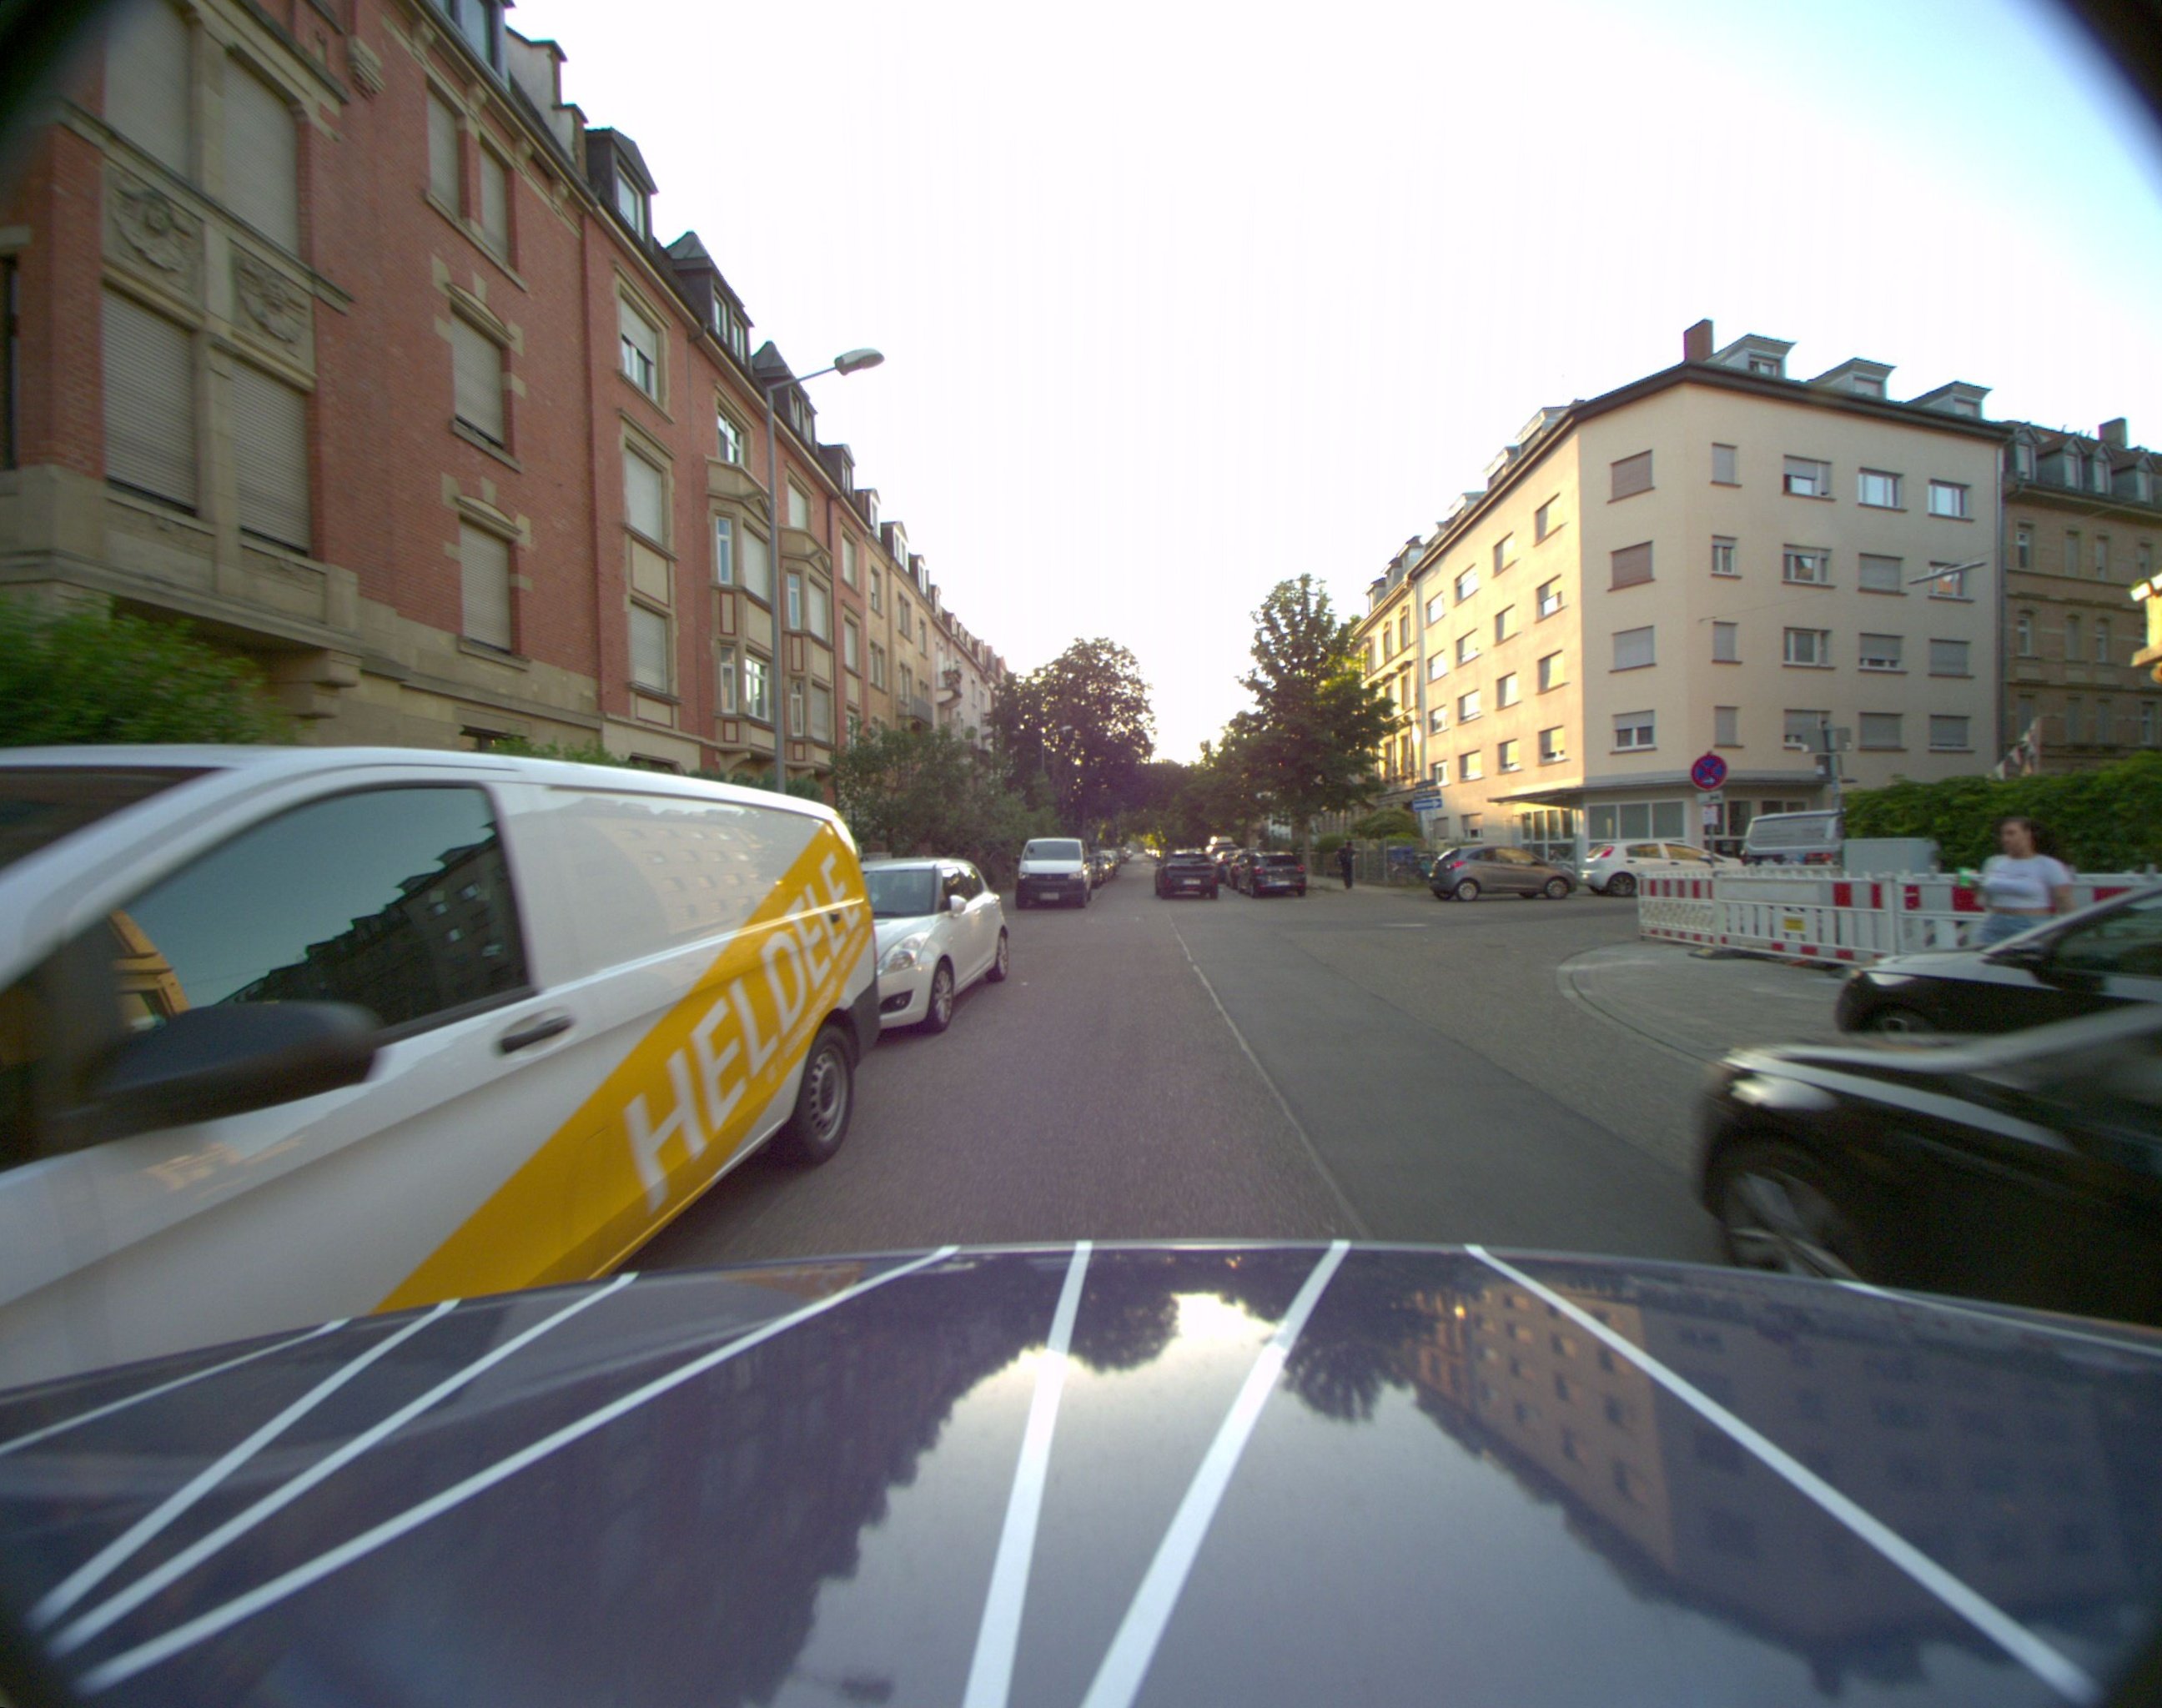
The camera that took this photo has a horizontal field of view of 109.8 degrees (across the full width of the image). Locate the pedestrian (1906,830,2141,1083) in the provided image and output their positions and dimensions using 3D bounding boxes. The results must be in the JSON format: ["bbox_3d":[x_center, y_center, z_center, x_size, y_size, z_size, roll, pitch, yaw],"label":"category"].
[{"bbox_3d":[6.570,0.665,5.330,0.786,1.609,0.711,-3,1,-9],"label":"pedestrian"}]

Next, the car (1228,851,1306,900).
[{"bbox_3d":[6.215,0.661,25.807,1.678,1.453,4.464,-2,1,2],"label":"car"}]

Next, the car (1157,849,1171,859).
[{"bbox_3d":[12.159,0.004,111.947,1.840,1.484,3.642,-2,1,4],"label":"car"}]

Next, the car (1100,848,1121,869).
[{"bbox_3d":[2.595,0.395,66.622,1.736,1.692,4.169,-2,1,2],"label":"car"}]

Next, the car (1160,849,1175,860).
[{"bbox_3d":[12.090,0.091,106.297,1.952,1.484,3.739,-2,1,4],"label":"car"}]

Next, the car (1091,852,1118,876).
[{"bbox_3d":[1.601,0.636,51.418,1.736,1.498,4.164,-2,1,2],"label":"car"}]

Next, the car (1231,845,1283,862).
[{"bbox_3d":[16.136,-0.042,69.821,4.411,1.333,1.626,-2,1,5],"label":"car"}]

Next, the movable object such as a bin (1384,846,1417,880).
[{"bbox_3d":[13.326,0.359,31.706,0.868,1.344,1.399,-3,1,6],"label":"movable object such as a bin"}]

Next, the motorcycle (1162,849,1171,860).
[{"bbox_3d":[10.400,0.046,92.396,0.847,1.202,2.076,2,1,14],"label":"motorcycle"}]

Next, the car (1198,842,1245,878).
[{"bbox_3d":[7.443,0.272,40.745,1.866,1.769,4.624,-2,1,3],"label":"car"}]

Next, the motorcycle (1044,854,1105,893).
[{"bbox_3d":[-0.258,0.731,29.631,2.098,1.474,1.130,0,1,-29],"label":"motorcycle"}]

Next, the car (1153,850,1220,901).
[{"bbox_3d":[3.411,0.648,25.220,1.784,1.509,4.000,0,1,1],"label":"car"}]

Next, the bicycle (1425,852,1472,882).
[{"bbox_3d":[14.039,0.496,29.070,0.501,1.086,1.545,-3,1,-33],"label":"bicycle"}]

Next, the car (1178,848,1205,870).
[{"bbox_3d":[8.892,0.345,61.163,1.865,1.653,4.022,-2,1,5],"label":"car"}]

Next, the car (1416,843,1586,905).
[{"bbox_3d":[11.216,0.530,20.492,3.514,1.499,1.845,-2,0,4],"label":"car"}]

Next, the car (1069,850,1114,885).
[{"bbox_3d":[0.608,0.647,39.086,1.760,1.573,4.843,-3,0,6],"label":"car"}]

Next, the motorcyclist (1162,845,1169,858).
[{"bbox_3d":[10.238,-0.289,91.800,0.788,1.531,0.546,2,2,14],"label":"motorcyclist"}]

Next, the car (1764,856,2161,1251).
[{"bbox_3d":[5.236,0.826,3.053,1.707,1.525,3.845,-2,1,4],"label":"car"}]

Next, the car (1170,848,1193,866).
[{"bbox_3d":[9.624,0.224,72.805,1.677,1.627,3.941,-2,1,1],"label":"car"}]

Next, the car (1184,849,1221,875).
[{"bbox_3d":[7.475,0.474,47.008,1.732,1.433,4.025,-2,1,2],"label":"car"}]

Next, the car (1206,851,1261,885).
[{"bbox_3d":[7.103,0.605,35.754,1.866,1.404,4.591,-2,1,3],"label":"car"}]

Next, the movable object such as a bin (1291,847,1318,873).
[{"bbox_3d":[12.315,0.315,41.920,0.948,1.379,1.551,-3,1,1],"label":"movable object such as a bin"}]

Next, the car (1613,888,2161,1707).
[{"bbox_3d":[2.853,0.905,1.021,1.656,1.447,3.942,1,1,4],"label":"car"}]

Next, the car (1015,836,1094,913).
[{"bbox_3d":[-0.655,0.519,22.861,1.866,2.027,5.545,0,1,3],"label":"car"}]

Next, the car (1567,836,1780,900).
[{"bbox_3d":[15.745,0.370,20.462,4.065,1.500,1.976,-3,1,16],"label":"car"}]

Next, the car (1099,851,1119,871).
[{"bbox_3d":[2.250,0.533,61.011,1.502,1.538,3.339,-2,1,2],"label":"car"}]

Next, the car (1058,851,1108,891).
[{"bbox_3d":[0.140,0.707,33.852,1.723,1.542,4.327,-2,1,6],"label":"car"}]

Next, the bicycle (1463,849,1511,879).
[{"bbox_3d":[16.196,0.400,30.297,1.635,1.086,0.501,-3,1,-2],"label":"bicycle"}]

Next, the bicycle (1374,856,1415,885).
[{"bbox_3d":[11.951,0.604,29.028,0.688,1.020,1.931,-3,1,-1],"label":"bicycle"}]

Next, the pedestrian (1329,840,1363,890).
[{"bbox_3d":[9.279,0.381,26.608,0.889,1.712,0.960,-2,1,31],"label":"pedestrian"}]

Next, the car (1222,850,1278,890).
[{"bbox_3d":[6.726,0.589,30.609,1.745,1.412,4.144,-2,1,7],"label":"car"}]

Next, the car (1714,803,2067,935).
[{"bbox_3d":[14.066,0.184,13.244,5.299,1.963,2.205,-1,0,-19],"label":"car"}]

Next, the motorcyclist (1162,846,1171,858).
[{"bbox_3d":[10.443,-0.253,92.548,0.890,1.496,0.970,2,2,14],"label":"motorcyclist"}]

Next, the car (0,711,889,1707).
[{"bbox_3d":[-2.336,0.759,2.197,1.897,1.873,5.083,-2,1,4],"label":"car"}]

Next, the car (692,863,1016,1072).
[{"bbox_3d":[-1.900,0.900,7.681,1.678,1.468,3.863,-2,1,7],"label":"car"}]
